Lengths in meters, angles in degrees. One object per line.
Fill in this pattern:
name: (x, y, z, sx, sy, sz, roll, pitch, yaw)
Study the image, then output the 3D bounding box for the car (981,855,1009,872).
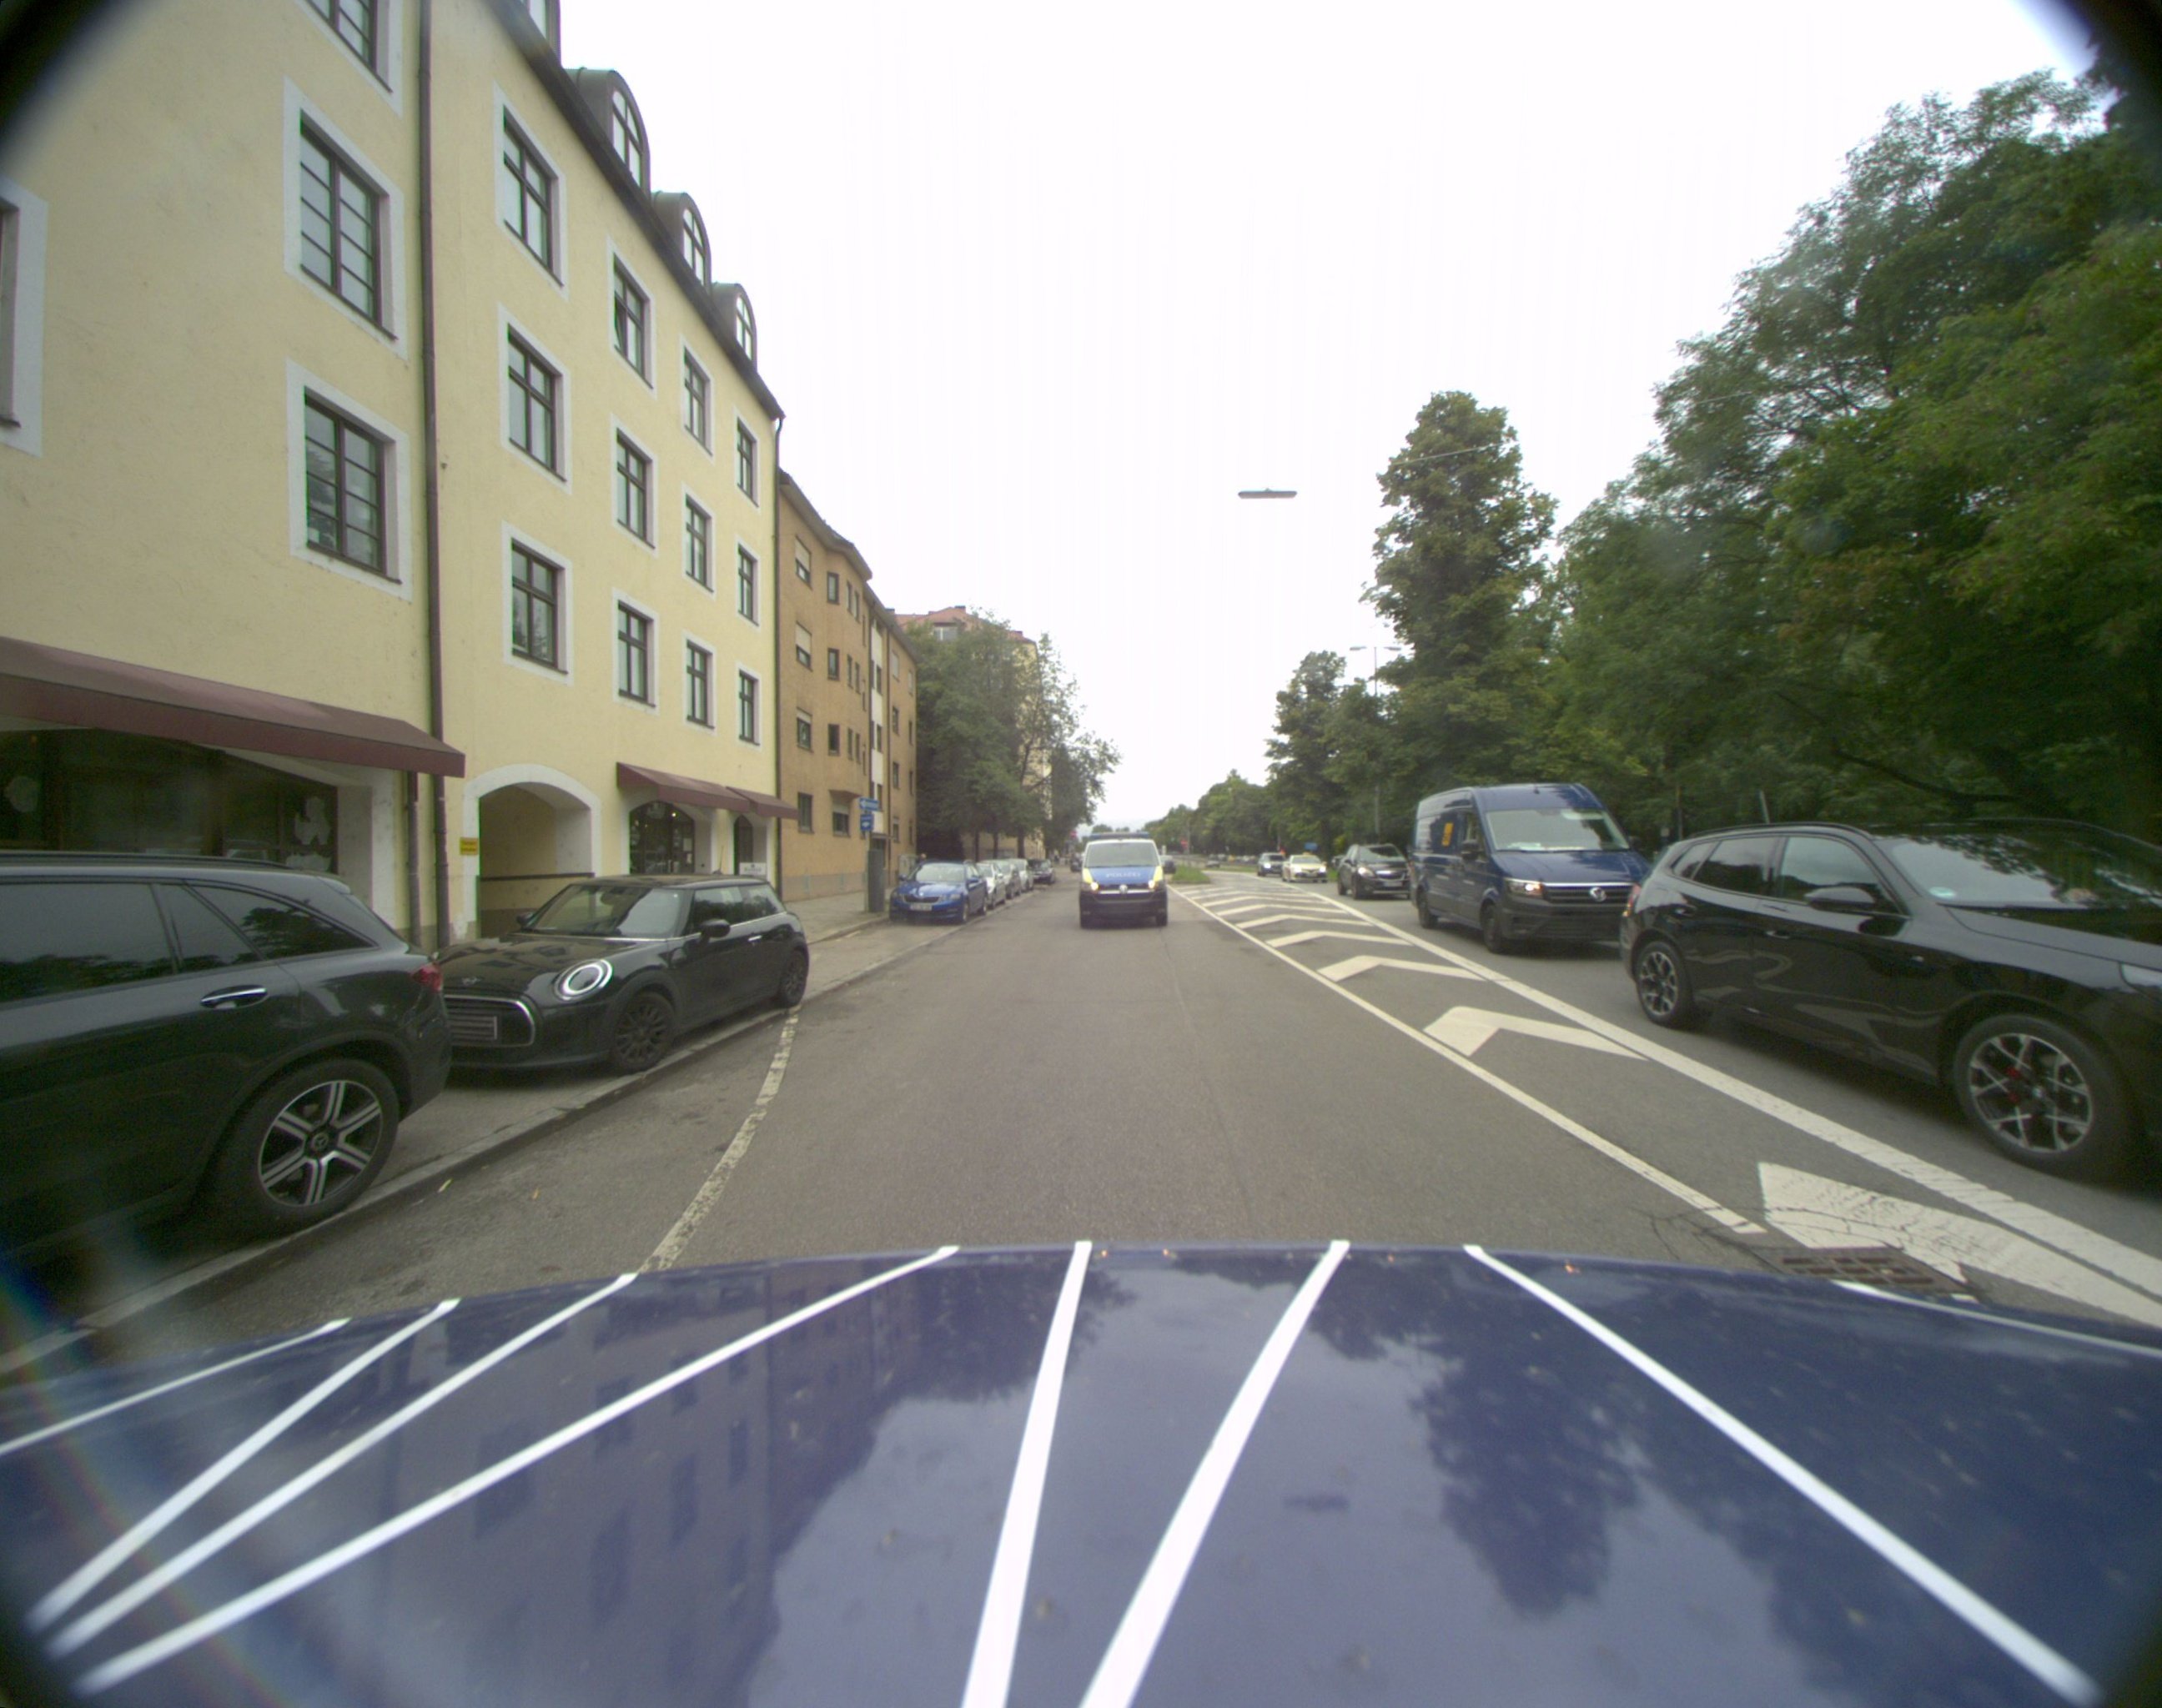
car: (-7.461, 0.814, 66.093, 2.054, 1.458, 4.244, 0, 0, -2)

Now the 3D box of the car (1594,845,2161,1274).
car: (5.342, 0.755, 4.568, 1.916, 1.577, 4.833, 0, 1, 10)

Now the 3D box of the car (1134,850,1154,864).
car: (8.171, 0.412, 98.818, 2.075, 1.692, 5.089, -1, 0, -2)

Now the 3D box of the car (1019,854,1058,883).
car: (-2.343, 0.797, 43.185, 1.796, 1.488, 4.376, 2, 0, 2)

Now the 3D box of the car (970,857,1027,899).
car: (-3.123, 0.880, 29.330, 1.631, 1.487, 3.787, 1, 0, 2)

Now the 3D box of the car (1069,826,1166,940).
car: (0.815, 0.533, 16.981, 1.856, 2.198, 4.553, -1, 1, 3)

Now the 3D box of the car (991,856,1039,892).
car: (-2.899, 0.848, 34.085, 1.631, 1.487, 3.821, 1, 0, 2)

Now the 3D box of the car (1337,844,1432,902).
car: (9.168, 0.518, 23.319, 1.990, 1.618, 4.277, 0, 0, 12)

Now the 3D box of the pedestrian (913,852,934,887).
pedestrian: (-7.364, 0.723, 35.529, 0.672, 1.614, 0.980, -1, 1, 3)

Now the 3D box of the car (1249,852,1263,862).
car: (32.440, 0.514, 140.931, 1.866, 1.736, 4.000, -1, 0, 1)

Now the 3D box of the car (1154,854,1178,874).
car: (6.979, 0.797, 62.361, 1.902, 1.556, 4.773, 0, 0, 6)

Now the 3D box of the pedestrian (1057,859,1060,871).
pedestrian: (-3.957, 1.923, 132.331, 0.458, 2.002, 0.617, 0, 0, -17)

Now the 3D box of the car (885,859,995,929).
car: (-3.391, 0.898, 19.164, 1.760, 1.487, 4.488, 1, 0, 2)

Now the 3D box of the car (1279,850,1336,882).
car: (11.626, 0.590, 39.341, 1.991, 1.556, 4.656, 0, 0, 6)

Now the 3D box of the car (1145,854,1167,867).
car: (8.755, 0.751, 89.327, 1.992, 1.447, 4.281, 0, 0, -2)

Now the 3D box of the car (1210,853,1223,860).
car: (29.195, 0.530, 163.713, 1.897, 1.438, 4.032, 0, 0, -4)

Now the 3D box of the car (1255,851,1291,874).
car: (13.384, 0.574, 53.218, 1.991, 1.556, 4.276, 0, 0, 8)

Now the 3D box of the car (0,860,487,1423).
car: (-4.178, 0.885, 1.776, 1.761, 1.669, 4.707, 1, 0, 2)

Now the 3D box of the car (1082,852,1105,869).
car: (1.276, 0.645, 75.081, 2.129, 1.556, 4.508, -1, 0, 2)

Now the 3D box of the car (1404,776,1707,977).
car: (7.077, 0.237, 12.313, 2.187, 2.450, 5.855, 0, 1, 11)

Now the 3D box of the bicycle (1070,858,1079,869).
bicycle: (-0.656, 0.870, 73.120, 0.632, 1.031, 1.736, 0, 0, 7)

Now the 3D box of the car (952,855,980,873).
car: (-9.857, 0.842, 65.619, 1.917, 1.458, 4.244, 0, 0, -2)

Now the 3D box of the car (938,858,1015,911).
car: (-3.231, 0.902, 24.295, 1.694, 1.487, 4.434, 1, 0, 2)

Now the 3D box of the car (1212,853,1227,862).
car: (23.160, 0.544, 127.298, 1.865, 1.549, 4.000, -1, 0, 1)

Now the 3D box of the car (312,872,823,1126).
car: (-3.976, 0.970, 6.792, 1.760, 1.487, 3.824, 1, 0, 5)
